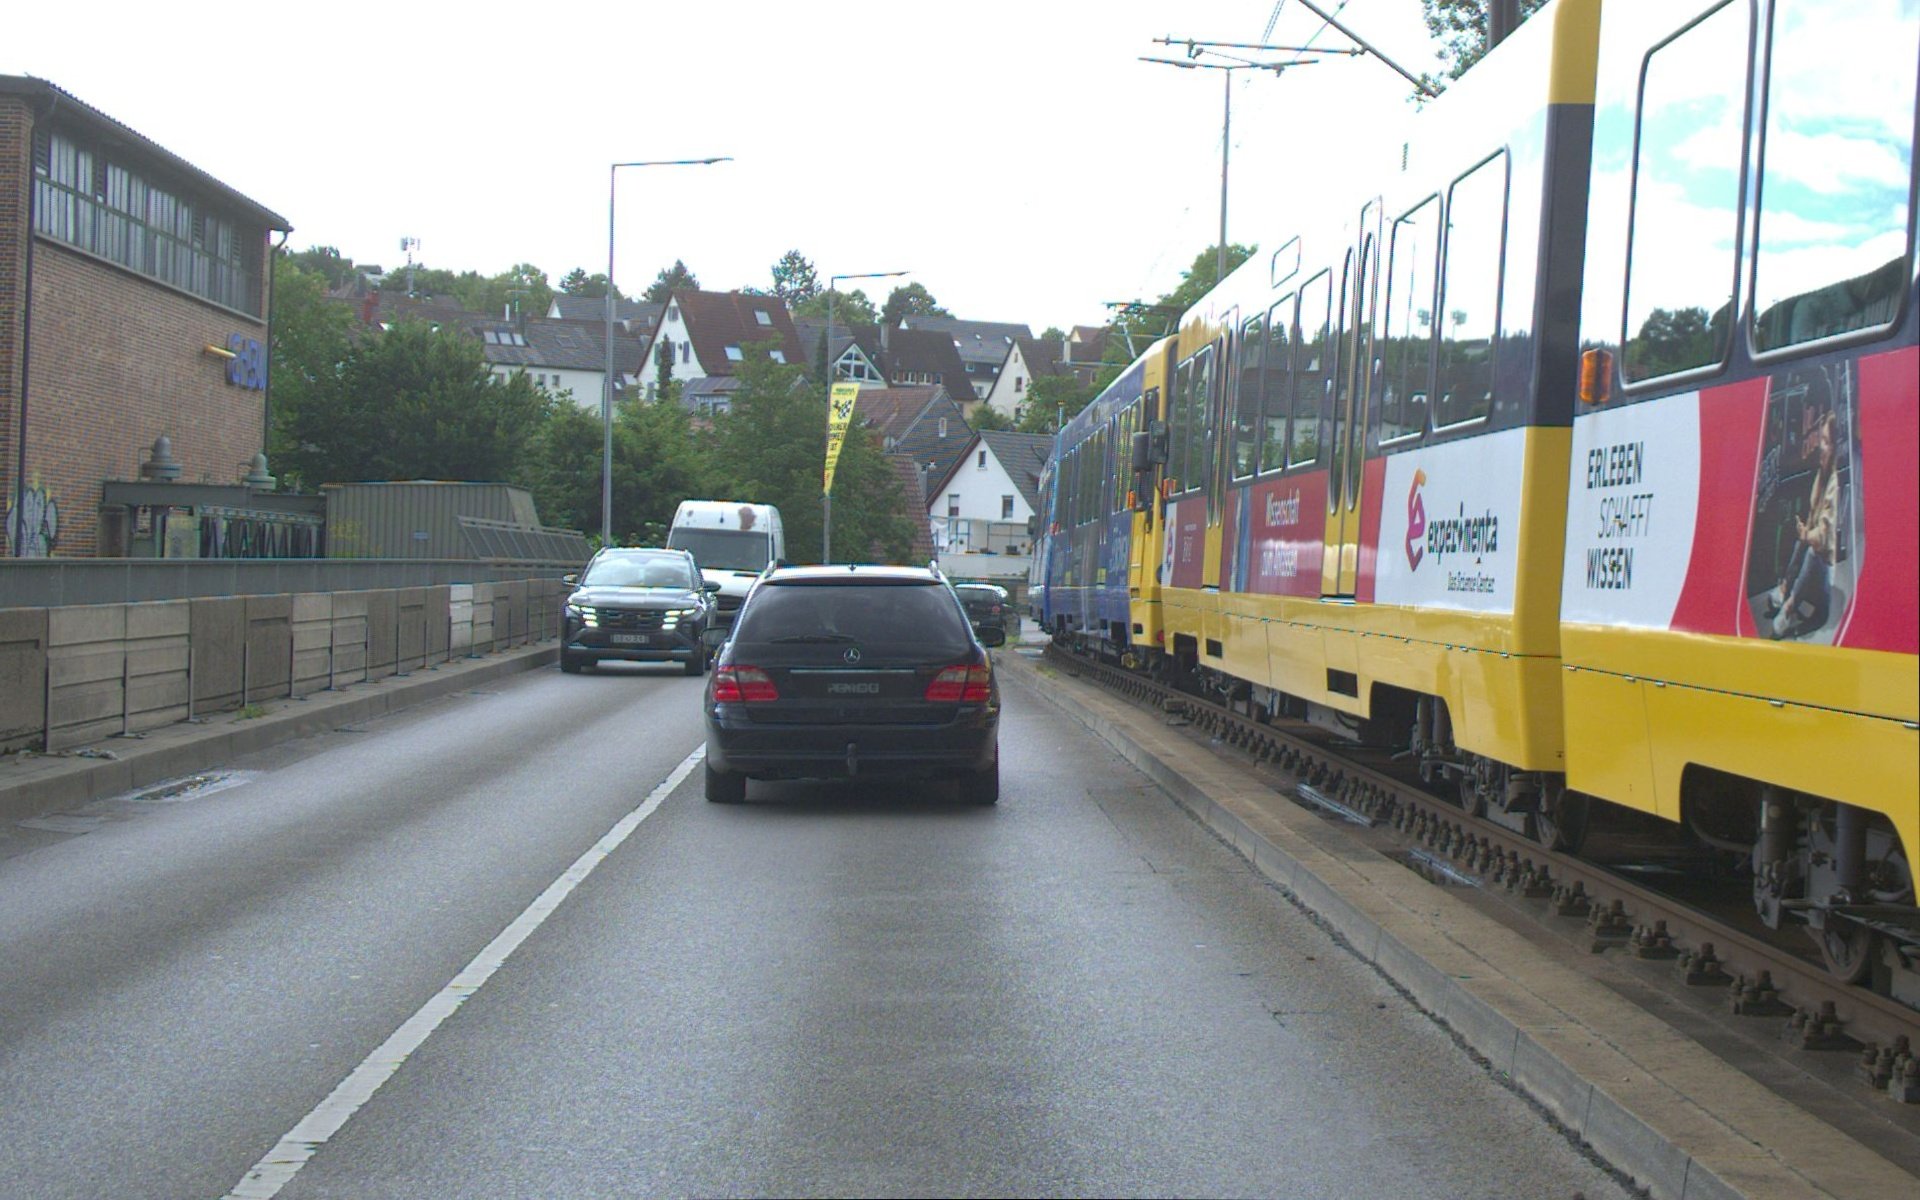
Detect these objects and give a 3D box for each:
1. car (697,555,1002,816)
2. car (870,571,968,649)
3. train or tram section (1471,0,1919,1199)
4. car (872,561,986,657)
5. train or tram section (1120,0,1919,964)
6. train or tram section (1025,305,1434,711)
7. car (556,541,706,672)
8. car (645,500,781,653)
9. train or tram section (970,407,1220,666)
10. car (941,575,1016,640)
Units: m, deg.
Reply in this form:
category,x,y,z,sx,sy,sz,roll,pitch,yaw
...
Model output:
category,x,y,z,sx,sy,sz,roll,pitch,yaw
car,-0.715,0.475,22.167,1.759,1.510,4.443,0,1,-2
car,-0.828,0.189,72.339,1.793,1.550,4.385,1,0,2
train or tram section,3.535,-0.352,3.132,2.882,3.497,18.668,0,1,-1
car,-0.566,0.125,58.785,1.770,1.550,4.241,0,1,-3
train or tram section,3.111,-0.626,21.767,2.829,3.568,18.668,0,1,-1
train or tram section,2.625,-0.898,41.051,2.784,3.643,19.894,-1,0,-1
car,-4.358,0.048,46.018,1.715,1.640,4.001,0,1,-2
car,-4.336,-0.472,61.287,2.033,2.552,7.008,1,1,-1
train or tram section,2.035,-1.005,60.982,2.793,3.751,19.894,2,0,-2
car,0.504,0.171,87.637,1.770,1.550,4.240,2,0,2
